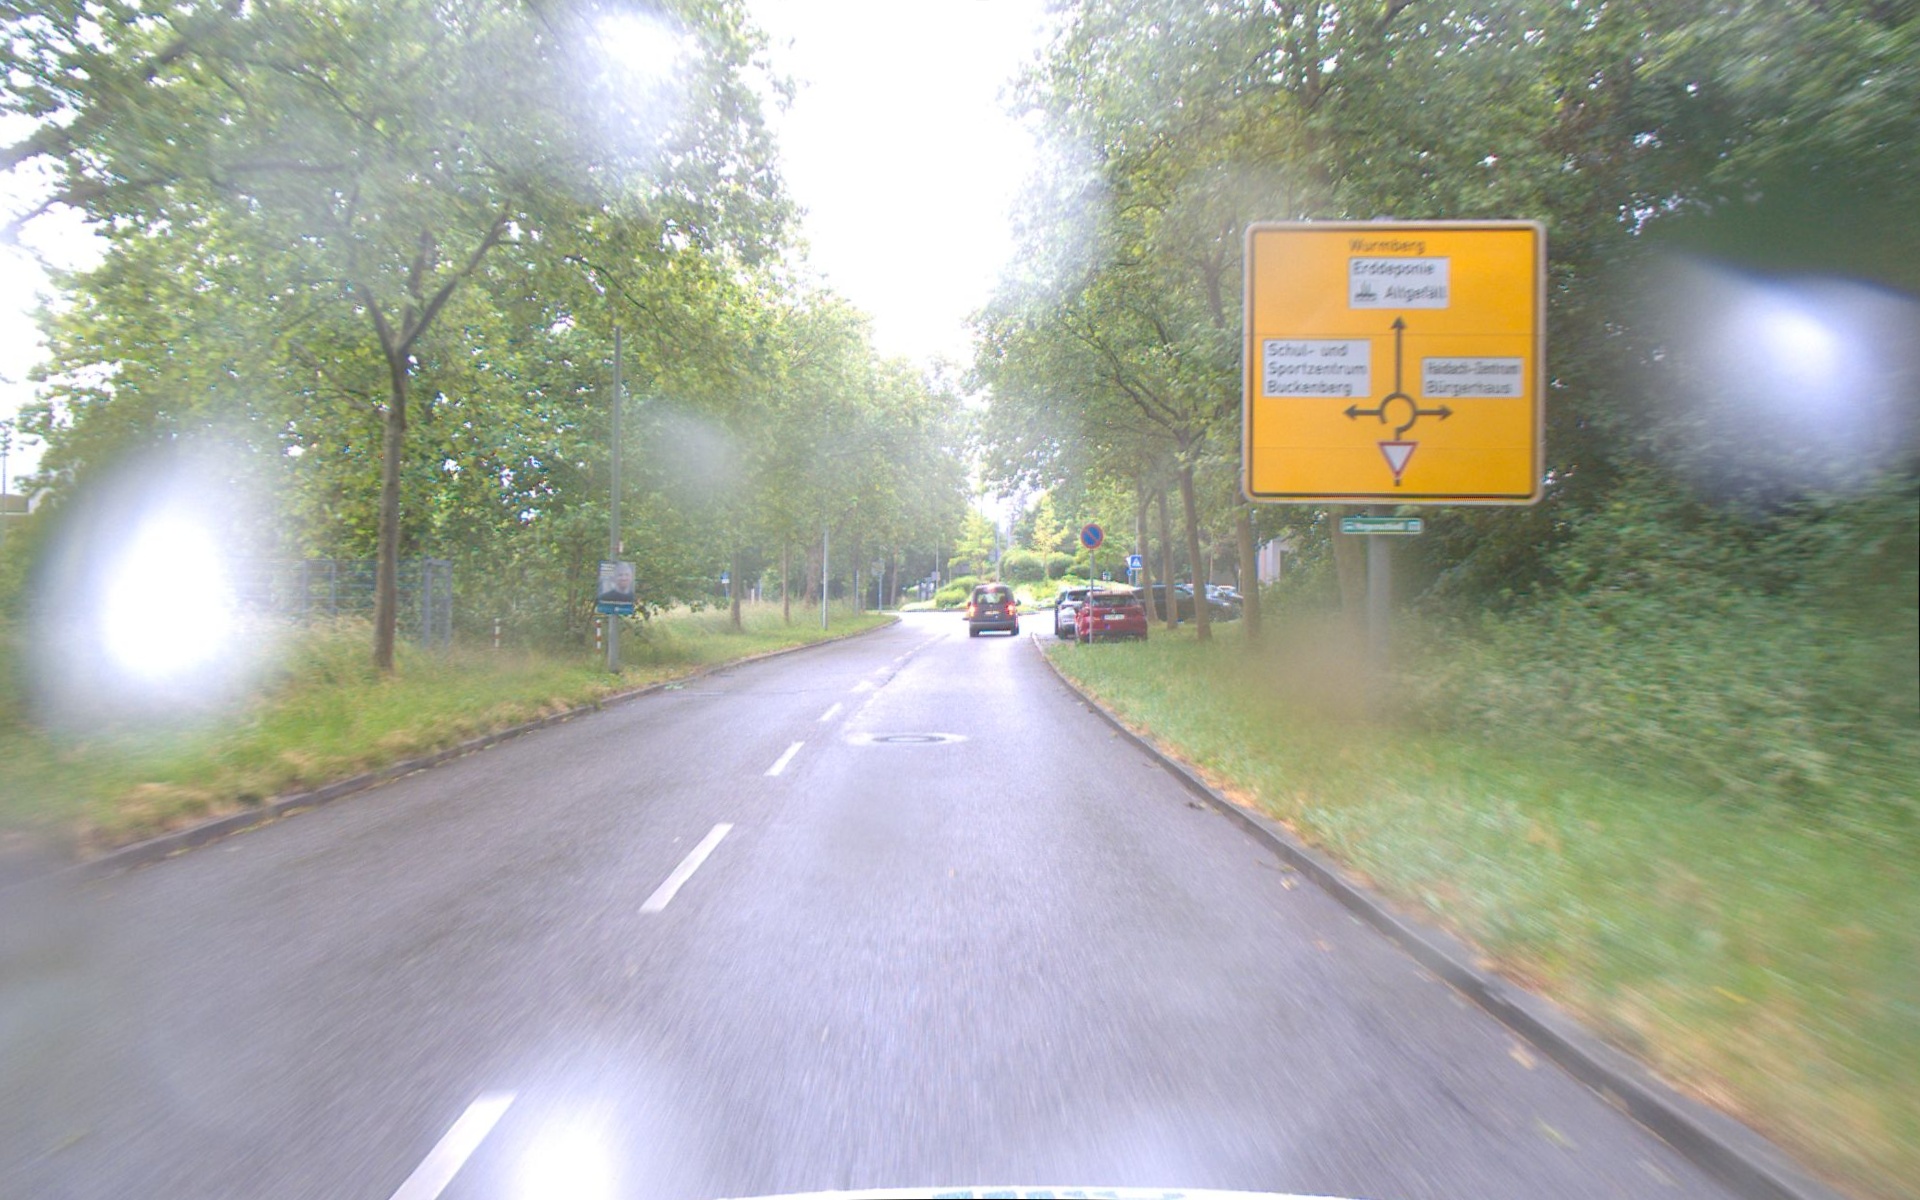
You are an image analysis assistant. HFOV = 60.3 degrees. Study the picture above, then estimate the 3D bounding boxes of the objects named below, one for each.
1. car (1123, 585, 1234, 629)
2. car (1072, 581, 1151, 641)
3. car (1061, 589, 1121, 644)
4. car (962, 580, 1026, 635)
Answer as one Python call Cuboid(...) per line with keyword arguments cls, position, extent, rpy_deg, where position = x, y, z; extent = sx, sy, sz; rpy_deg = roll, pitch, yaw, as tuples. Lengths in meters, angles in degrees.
Cuboid(cls="car", position=(8.906, 0.277, 67.698), extent=(4.376, 1.709, 1.769), rpy_deg=(0, 1, 4))
Cuboid(cls="car", position=(3.766, 0.266, 41.682), extent=(1.760, 1.396, 3.745), rpy_deg=(-2, 0, 2))
Cuboid(cls="car", position=(4.150, 0.514, 52.961), extent=(1.692, 1.619, 4.254), rpy_deg=(-2, 0, 2))
Cuboid(cls="car", position=(1.304, 0.258, 61.381), extent=(1.878, 1.832, 3.793), rpy_deg=(-4, 0, 7))
